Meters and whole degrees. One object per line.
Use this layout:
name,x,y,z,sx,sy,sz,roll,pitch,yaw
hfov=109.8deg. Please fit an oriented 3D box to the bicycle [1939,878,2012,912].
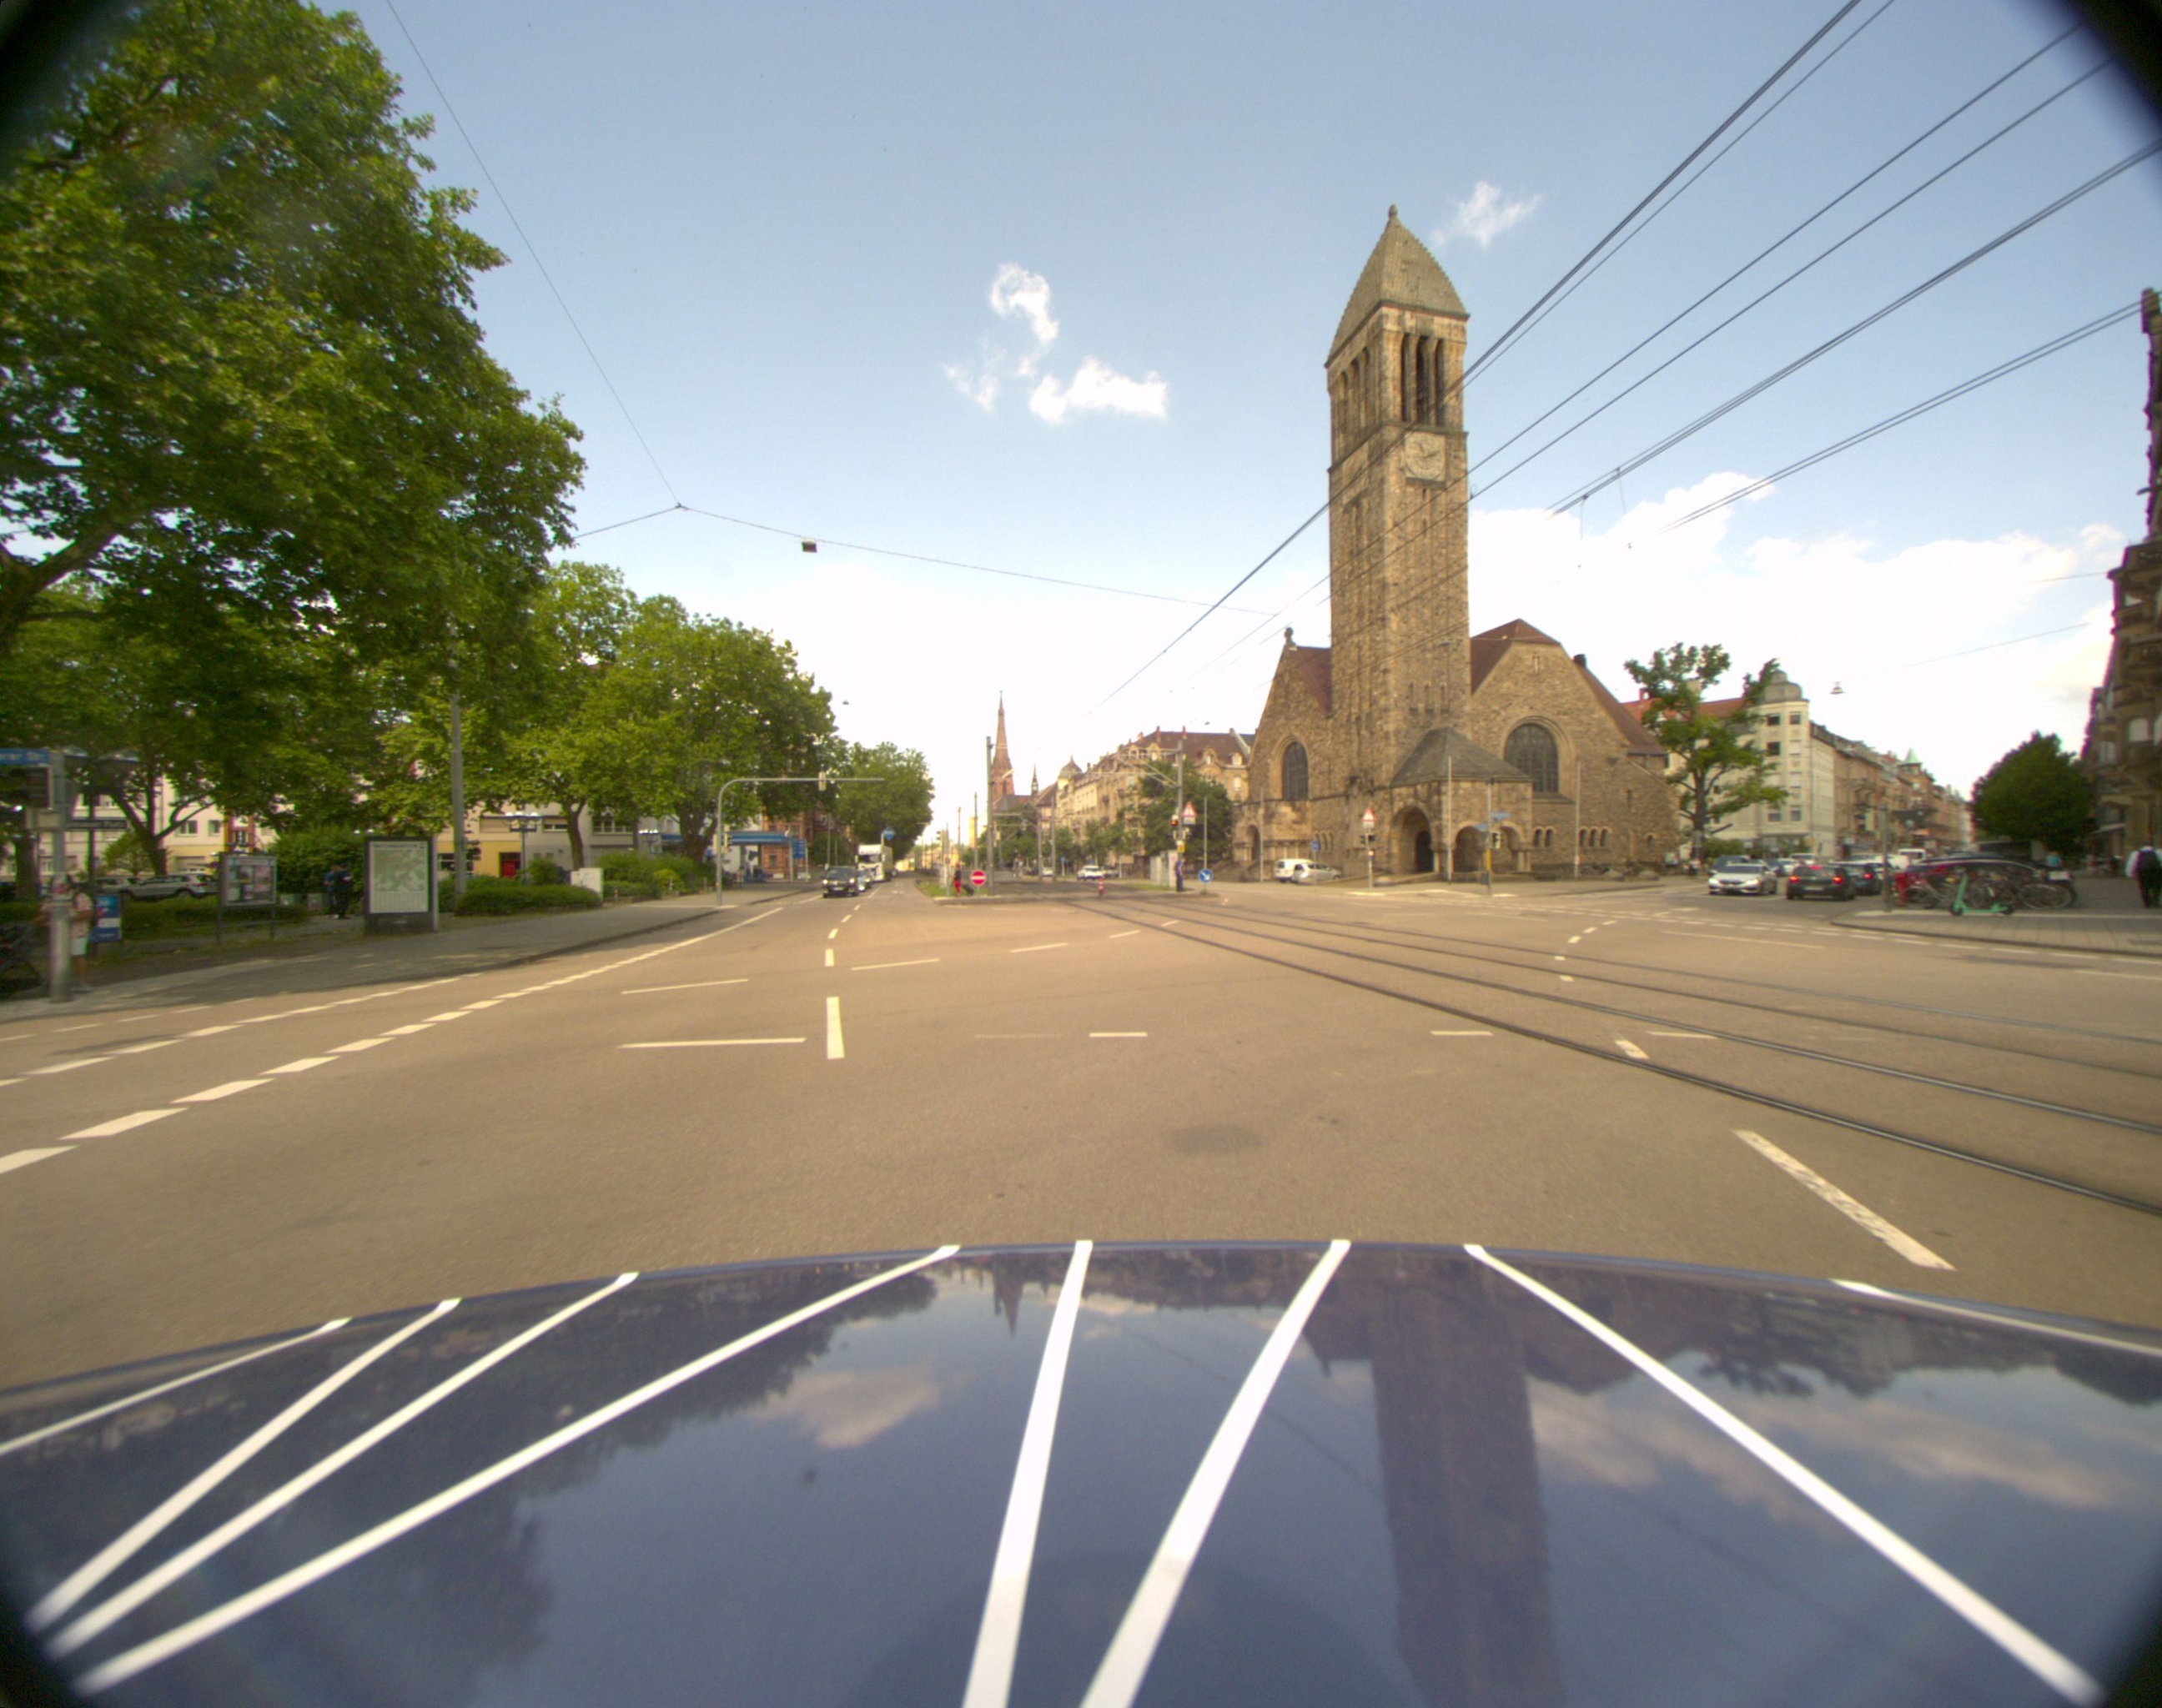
bicycle,28.666,1.323,24.386,0.463,1.045,1.480,0,-3,-41

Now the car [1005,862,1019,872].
car,-12.284,2.265,134.702,1.786,1.525,4.381,-3,0,-14

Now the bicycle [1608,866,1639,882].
bicycle,42.190,1.567,59.124,0.587,1.106,1.936,-1,3,-17

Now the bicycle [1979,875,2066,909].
bicycle,31.128,1.262,25.135,1.902,1.045,0.558,-2,-2,8

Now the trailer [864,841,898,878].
trailer,-23.475,0.663,89.599,2.918,4.054,11.640,-1,0,-10

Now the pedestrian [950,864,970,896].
pedestrian,-5.727,1.230,35.853,0.777,1.483,0.657,-1,0,-25

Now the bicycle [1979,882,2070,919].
bicycle,27.819,1.371,22.427,0.481,1.045,1.579,-1,-2,-30

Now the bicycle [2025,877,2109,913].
bicycle,29.425,1.231,22.707,0.463,1.045,1.481,0,-2,-40

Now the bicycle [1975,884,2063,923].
bicycle,26.170,1.372,21.226,0.481,1.045,1.440,-1,-2,-28

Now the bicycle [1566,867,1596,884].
bicycle,38.233,1.634,58.147,0.587,1.106,1.936,-1,3,-17

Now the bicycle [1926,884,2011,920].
bicycle,26.840,1.438,23.000,0.481,1.045,1.579,-1,-2,-30

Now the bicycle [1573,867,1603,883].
bicycle,38.925,1.622,58.336,0.587,1.106,1.936,-1,3,-17

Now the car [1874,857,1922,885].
car,54.129,1.082,50.320,4.292,1.765,1.813,1,0,-39

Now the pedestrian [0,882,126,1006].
pedestrian,-14.275,1.223,10.650,0.569,1.636,0.923,-1,0,3

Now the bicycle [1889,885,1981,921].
bicycle,25.926,1.482,23.105,0.531,1.045,1.734,-1,-2,-21

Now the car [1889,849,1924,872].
car,89.135,0.732,82.040,5.957,2.431,2.077,1,1,-39

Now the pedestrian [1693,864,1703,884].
pedestrian,45.529,1.466,56.059,0.557,1.447,0.465,-1,0,-43

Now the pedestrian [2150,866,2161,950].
pedestrian,21.329,1.015,14.509,0.998,1.584,0.942,-1,-4,-37

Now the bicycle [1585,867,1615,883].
bicycle,39.923,1.605,58.461,0.587,1.106,1.936,-1,3,-17

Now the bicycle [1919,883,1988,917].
bicycle,27.305,1.441,23.791,0.419,1.045,1.370,0,-3,-39

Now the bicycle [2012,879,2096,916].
bicycle,28.781,1.281,22.498,0.463,1.045,1.481,0,-2,-37

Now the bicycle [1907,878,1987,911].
bicycle,28.940,1.356,25.408,1.810,1.045,0.558,-2,-2,7

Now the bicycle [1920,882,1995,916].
bicycle,27.603,1.416,23.953,0.463,1.045,1.481,0,-2,-37

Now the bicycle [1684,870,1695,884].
bicycle,45.167,1.690,56.393,1.446,1.046,0.479,0,0,-43

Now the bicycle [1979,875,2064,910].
bicycle,29.787,1.225,24.093,0.559,1.045,1.628,0,-2,-39

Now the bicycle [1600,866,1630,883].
bicycle,41.405,1.580,58.942,0.587,1.106,1.936,-1,3,-17

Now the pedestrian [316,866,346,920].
pedestrian,-24.568,1.261,24.899,0.607,1.740,0.697,-1,0,-37

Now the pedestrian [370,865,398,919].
pedestrian,-23.025,1.234,25.106,0.607,1.740,0.697,-1,0,-37

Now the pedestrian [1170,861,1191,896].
pedestrian,4.936,1.203,37.702,0.772,1.721,0.743,-1,0,-14

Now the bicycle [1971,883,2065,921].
bicycle,27.043,1.388,21.958,0.481,1.045,1.611,-1,-2,-30

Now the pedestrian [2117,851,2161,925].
pedestrian,28.093,0.883,20.068,0.907,1.849,0.803,-4,1,-38

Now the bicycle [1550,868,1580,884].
bicycle,36.726,1.659,57.680,0.587,1.106,1.936,-1,3,-17
